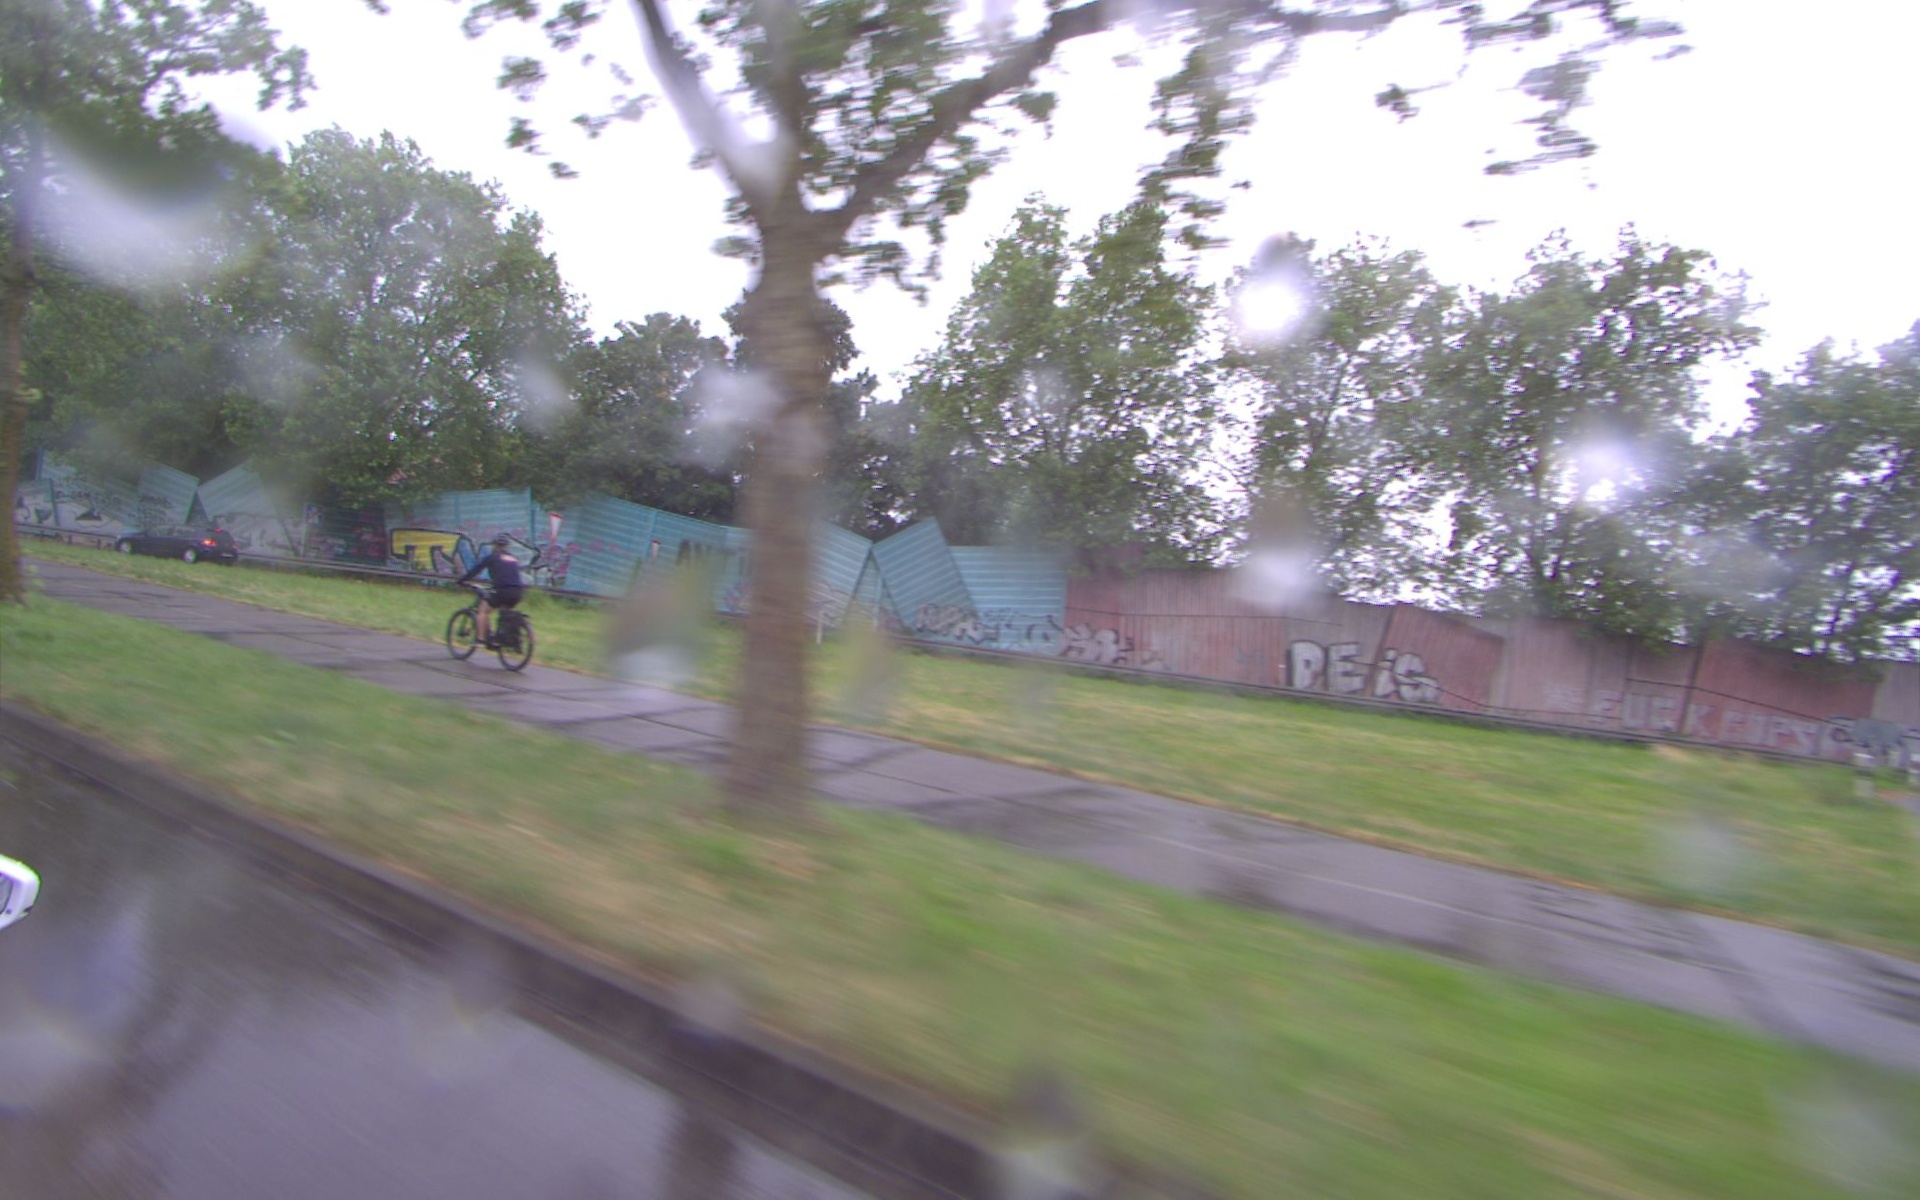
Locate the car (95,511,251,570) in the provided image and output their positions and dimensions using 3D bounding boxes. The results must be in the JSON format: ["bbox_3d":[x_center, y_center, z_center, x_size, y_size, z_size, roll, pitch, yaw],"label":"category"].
[{"bbox_3d":[-29.736,-2.237,38.093,4.431,1.555,1.870,7,0,4],"label":"car"}]
